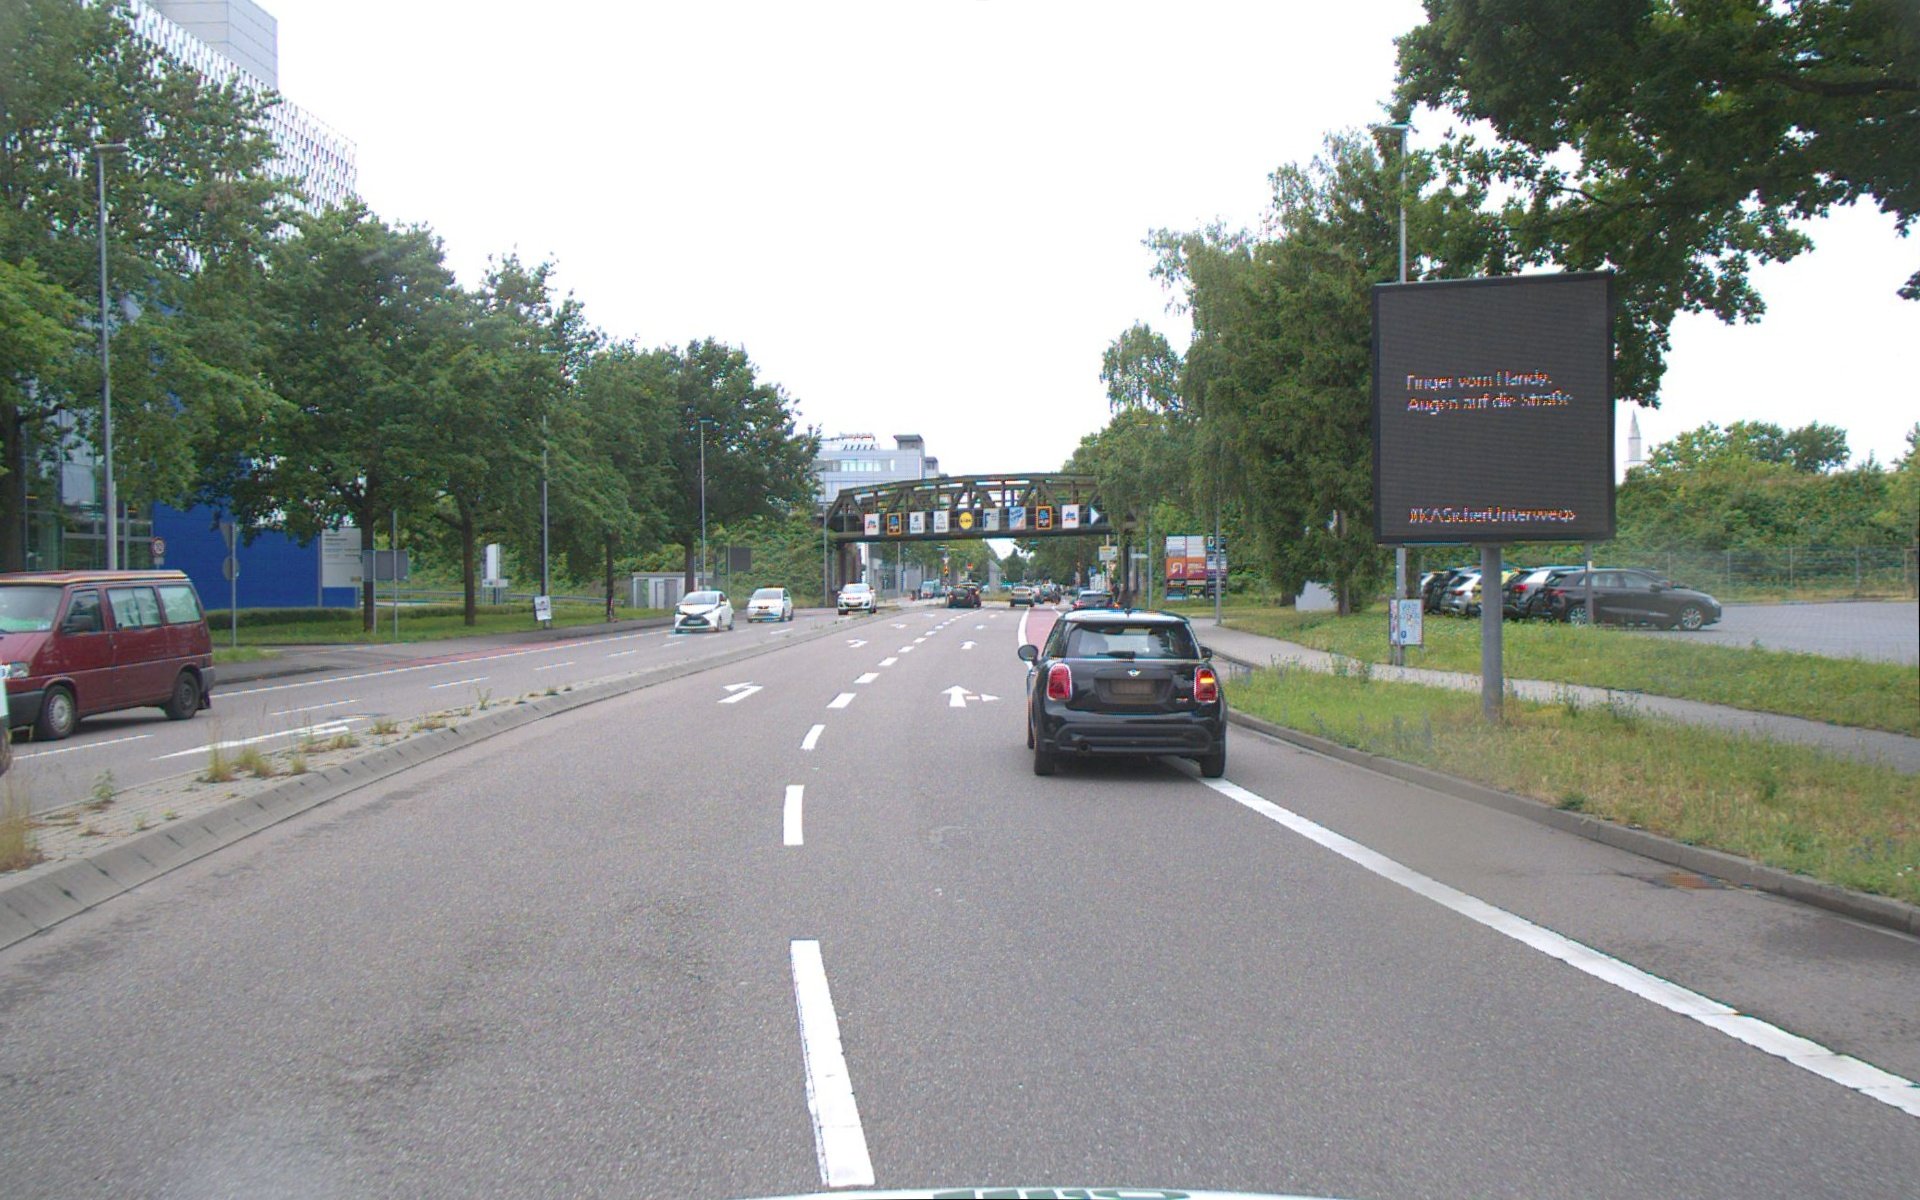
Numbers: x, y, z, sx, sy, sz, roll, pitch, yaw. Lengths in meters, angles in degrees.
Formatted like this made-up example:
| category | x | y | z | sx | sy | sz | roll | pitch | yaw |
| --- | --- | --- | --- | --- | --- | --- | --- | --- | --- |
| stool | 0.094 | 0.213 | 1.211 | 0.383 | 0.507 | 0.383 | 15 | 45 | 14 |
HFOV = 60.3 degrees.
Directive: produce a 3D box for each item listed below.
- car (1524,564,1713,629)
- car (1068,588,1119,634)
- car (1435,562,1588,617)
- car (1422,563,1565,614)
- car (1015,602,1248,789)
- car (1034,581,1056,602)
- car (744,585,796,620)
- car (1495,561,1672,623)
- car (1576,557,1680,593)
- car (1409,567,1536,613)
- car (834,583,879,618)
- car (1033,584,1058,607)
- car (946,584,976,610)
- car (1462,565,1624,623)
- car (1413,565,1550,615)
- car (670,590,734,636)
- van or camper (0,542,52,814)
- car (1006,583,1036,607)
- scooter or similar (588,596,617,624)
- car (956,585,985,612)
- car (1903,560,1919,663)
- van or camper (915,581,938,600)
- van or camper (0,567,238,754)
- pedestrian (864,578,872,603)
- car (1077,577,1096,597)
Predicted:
| category | x | y | z | sx | sy | sz | roll | pitch | yaw |
| --- | --- | --- | --- | --- | --- | --- | --- | --- | --- |
| car | 15.691 | -0.104 | 39.585 | 3.902 | 1.460 | 1.732 | 1 | 2 | 9 |
| car | 4.733 | 0.356 | 58.549 | 1.720 | 1.459 | 4.003 | -1 | 1 | 5 |
| car | 15.737 | -0.311 | 47.387 | 3.902 | 1.460 | 1.732 | 1 | 2 | 9 |
| car | 16.242 | -0.380 | 50.485 | 3.902 | 1.460 | 1.732 | 1 | 2 | 9 |
| car | 1.487 | 0.800 | 15.588 | 1.749 | 1.440 | 3.643 | 3 | 0 | 0 |
| car | 8.218 | -0.829 | 159.569 | 1.909 | 1.847 | 4.003 | 1 | 2 | 5 |
| car | -8.422 | 0.113 | 73.567 | 1.683 | 1.395 | 3.443 | 1 | 2 | 5 |
| car | 15.779 | -0.228 | 42.017 | 3.902 | 1.460 | 1.732 | 1 | 2 | 9 |
| car | 29.046 | -1.106 | 72.012 | 3.902 | 1.460 | 1.732 | 1 | 2 | 9 |
| car | 17.449 | -0.362 | 56.424 | 3.902 | 1.460 | 1.732 | 1 | 2 | 9 |
| car | -5.600 | -0.001 | 89.524 | 1.899 | 1.705 | 3.785 | 1 | 2 | 5 |
| car | 6.967 | -0.386 | 134.442 | 1.844 | 1.690 | 3.785 | 1 | 2 | 5 |
| car | 0.093 | -0.220 | 117.252 | 1.844 | 1.690 | 3.785 | 1 | 2 | 5 |
| car | 15.813 | -0.174 | 45.027 | 3.902 | 1.460 | 1.732 | 1 | 2 | 9 |
| car | 16.477 | -0.333 | 52.404 | 3.902 | 1.460 | 1.732 | 1 | 2 | 9 |
| car | -9.236 | 0.443 | 59.412 | 1.718 | 1.471 | 3.340 | 0 | 2 | 1 |
| van or camper | -7.083 | 0.584 | 9.203 | 1.721 | 1.777 | 4.404 | -4 | 1 | -3 |
| car | 4.708 | -0.366 | 127.284 | 2.090 | 1.690 | 3.785 | 1 | 2 | 5 |
| scooter or similar | -15.279 | 0.426 | 70.692 | 0.746 | 1.108 | 2.007 | 0 | 2 | 1 |
| car | 0.798 | -0.117 | 123.811 | 1.909 | 1.847 | 4.003 | 1 | 2 | 5 |
| car | 15.690 | 0.205 | 23.117 | 4.001 | 1.460 | 1.731 | 0 | 2 | 1 |
| van or camper | -4.705 | -1.373 | 231.847 | 1.951 | 2.529 | 7.034 | -1 | 1 | 10 |
| van or camper | -10.979 | 0.629 | 20.369 | 1.836 | 2.021 | 4.891 | -1 | 1 | 2 |
| pedestrian | -7.499 | -0.773 | 134.414 | 0.529 | 2.048 | 0.485 | 1 | 2 | 13 |
| car | 12.937 | -1.317 | 169.097 | 1.909 | 1.847 | 4.003 | 1 | 2 | 5 |
